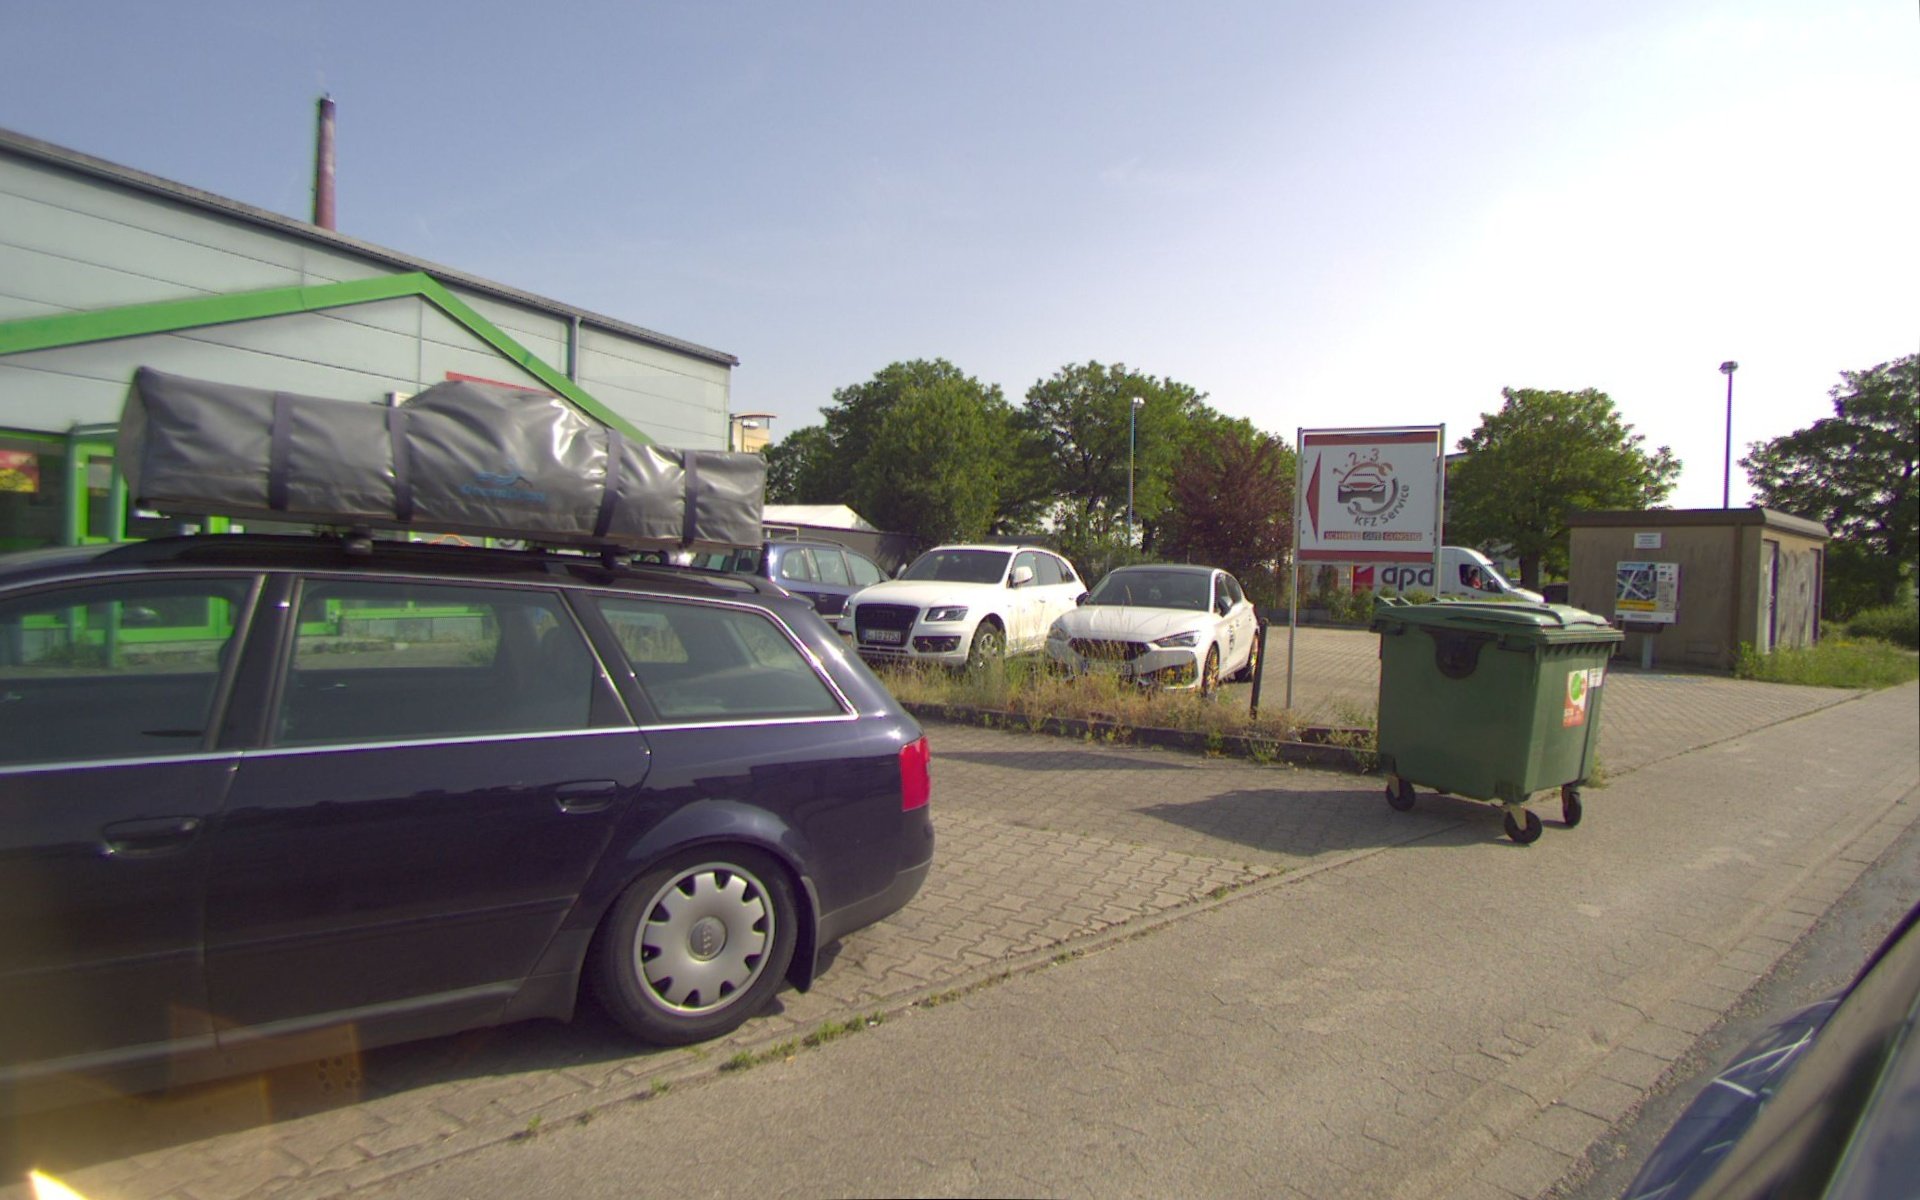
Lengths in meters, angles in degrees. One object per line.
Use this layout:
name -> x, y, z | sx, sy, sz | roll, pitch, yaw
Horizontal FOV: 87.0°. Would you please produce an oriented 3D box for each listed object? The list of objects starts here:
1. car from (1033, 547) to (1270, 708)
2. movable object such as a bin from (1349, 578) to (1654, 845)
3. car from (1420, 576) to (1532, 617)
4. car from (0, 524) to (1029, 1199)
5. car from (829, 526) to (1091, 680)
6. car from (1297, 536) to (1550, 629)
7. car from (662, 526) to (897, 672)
car -> 2.414, 0.208, 11.811 | 1.676, 1.484, 4.225 | 2, 2, 25
movable object such as a bin -> 3.377, 0.598, 6.315 | 1.478, 1.369, 1.084 | 1, 4, -37
car -> 21.334, -0.171, 41.913 | 4.009, 1.481, 1.781 | 3, 2, 30
car -> -2.005, 0.506, 3.036 | 4.310, 1.385, 1.679 | 0, 2, -36
car -> 0.186, -0.025, 12.796 | 1.703, 1.591, 4.097 | 2, 2, 25
car -> 14.037, -0.555, 30.957 | 6.707, 2.571, 2.250 | 1, 1, 37
car -> -2.358, -0.062, 13.930 | 1.627, 1.741, 3.186 | 2, 2, 26
